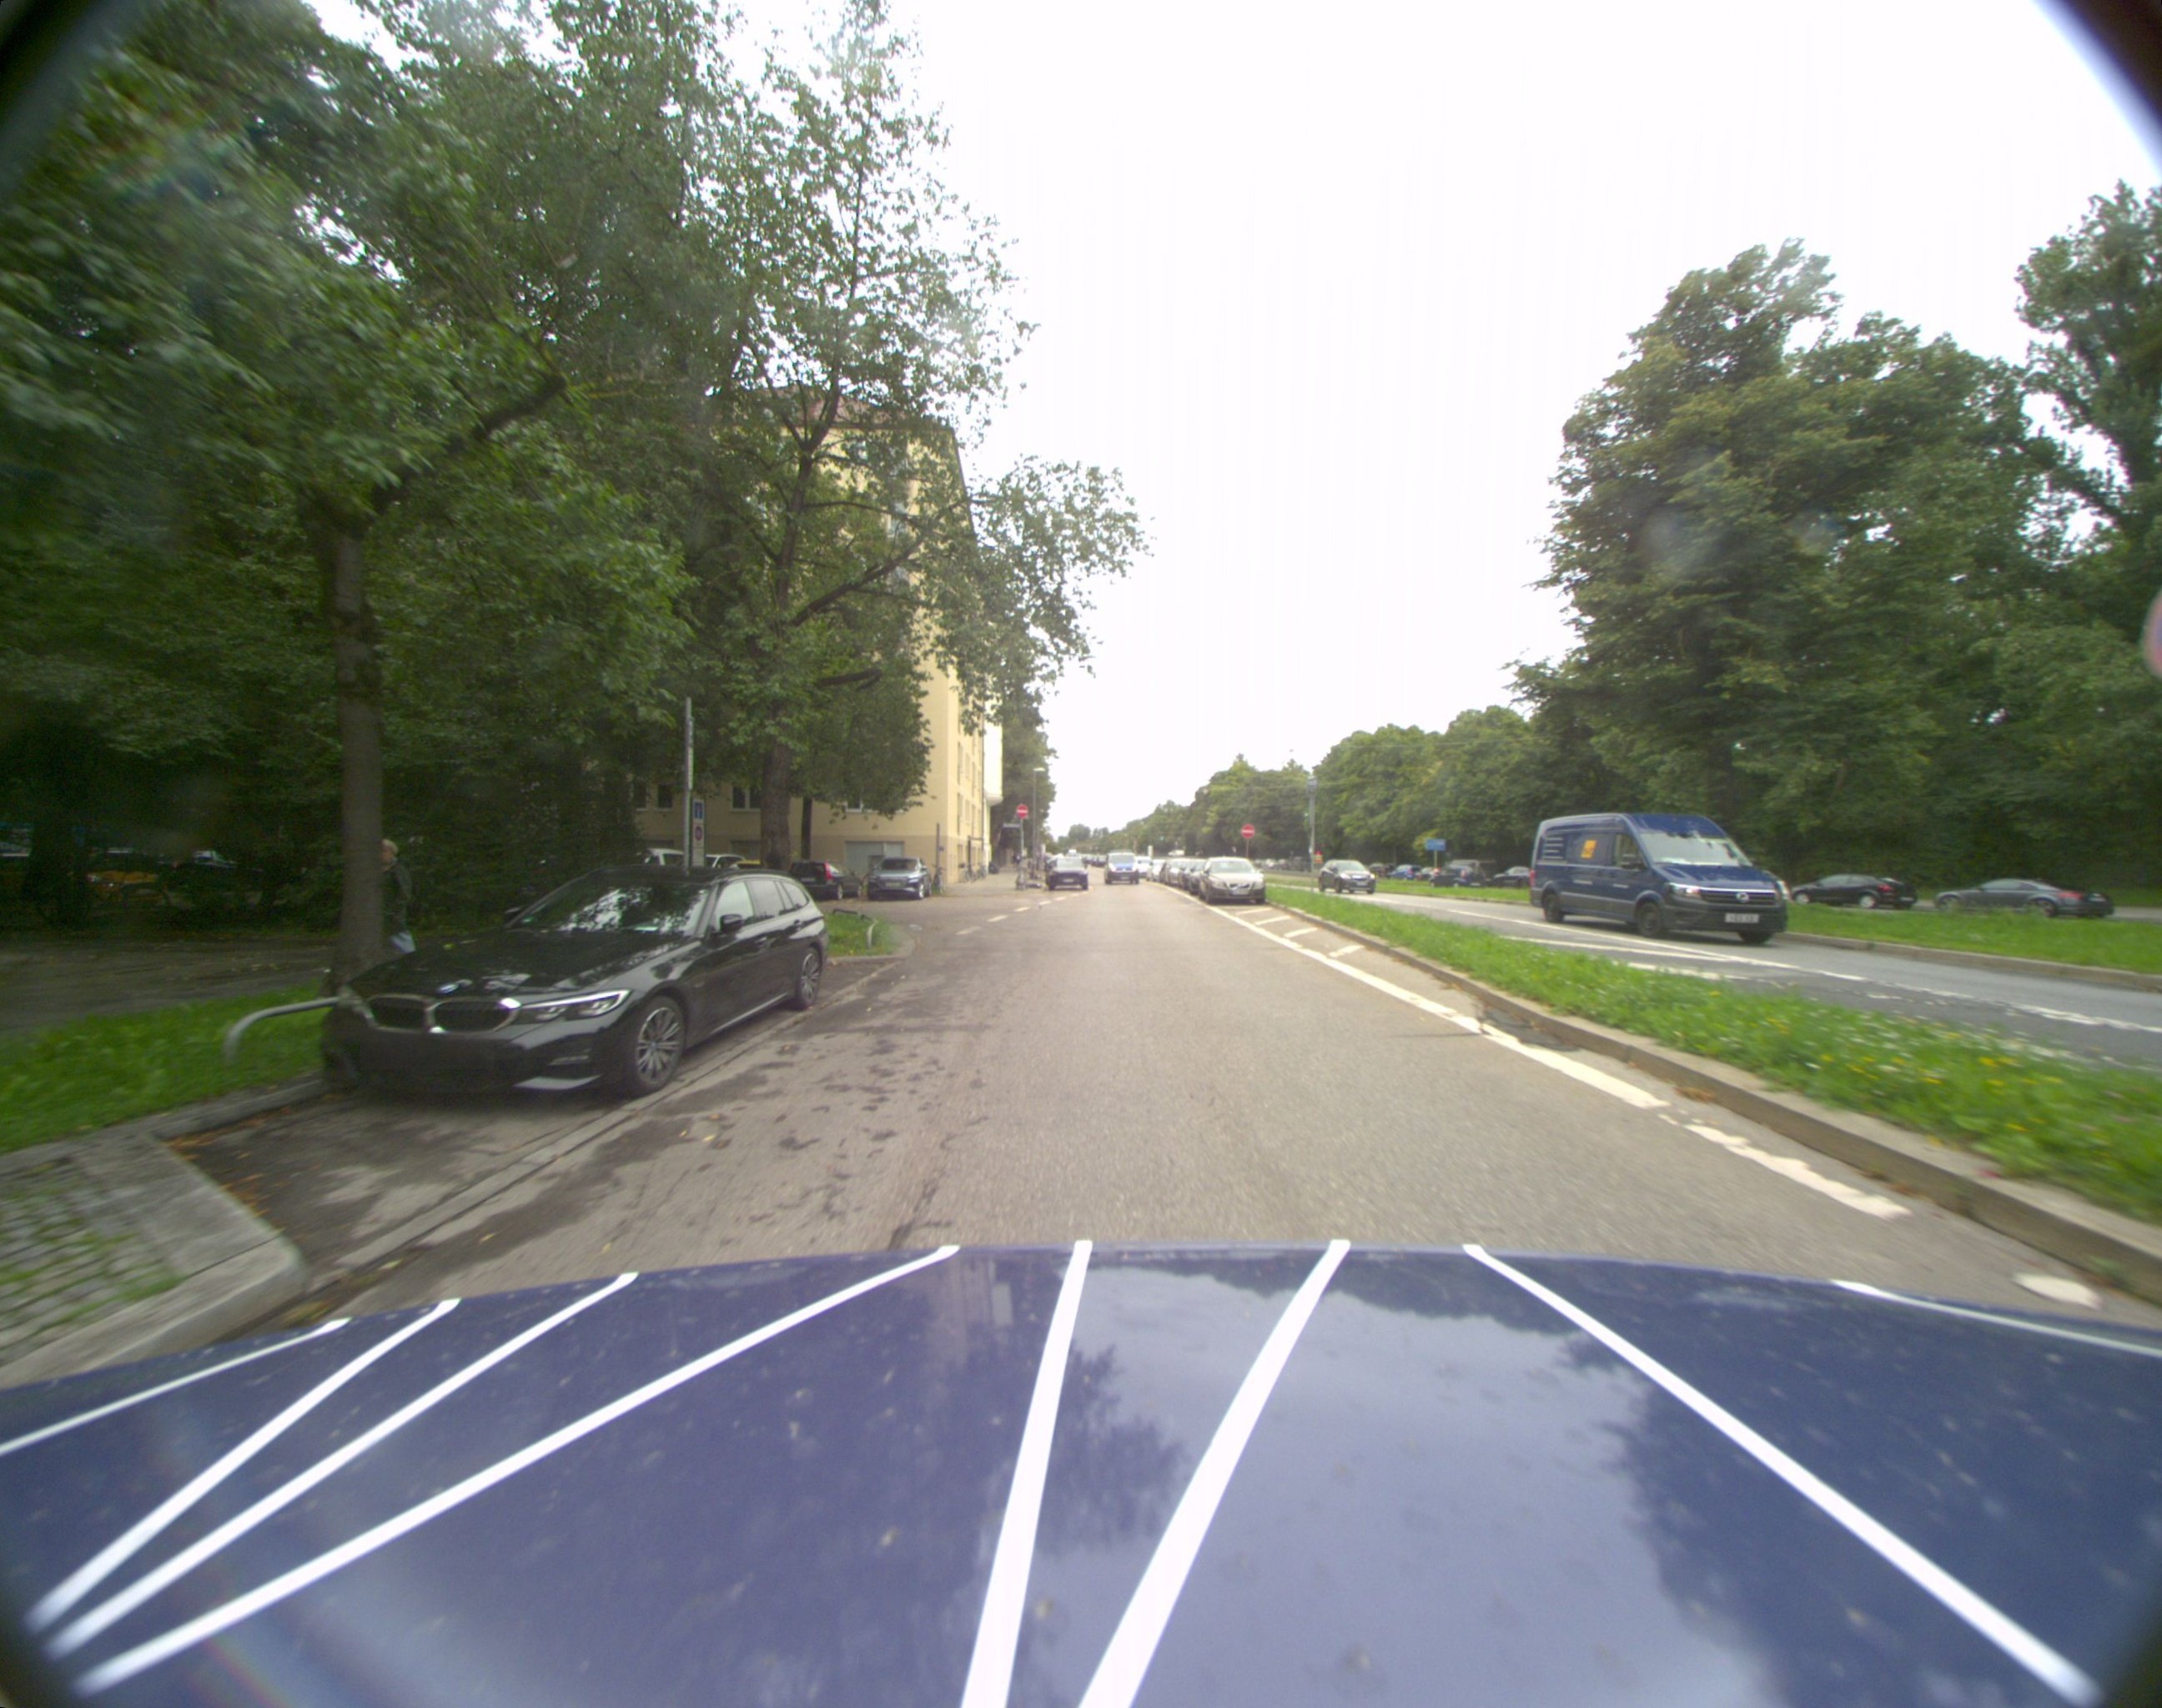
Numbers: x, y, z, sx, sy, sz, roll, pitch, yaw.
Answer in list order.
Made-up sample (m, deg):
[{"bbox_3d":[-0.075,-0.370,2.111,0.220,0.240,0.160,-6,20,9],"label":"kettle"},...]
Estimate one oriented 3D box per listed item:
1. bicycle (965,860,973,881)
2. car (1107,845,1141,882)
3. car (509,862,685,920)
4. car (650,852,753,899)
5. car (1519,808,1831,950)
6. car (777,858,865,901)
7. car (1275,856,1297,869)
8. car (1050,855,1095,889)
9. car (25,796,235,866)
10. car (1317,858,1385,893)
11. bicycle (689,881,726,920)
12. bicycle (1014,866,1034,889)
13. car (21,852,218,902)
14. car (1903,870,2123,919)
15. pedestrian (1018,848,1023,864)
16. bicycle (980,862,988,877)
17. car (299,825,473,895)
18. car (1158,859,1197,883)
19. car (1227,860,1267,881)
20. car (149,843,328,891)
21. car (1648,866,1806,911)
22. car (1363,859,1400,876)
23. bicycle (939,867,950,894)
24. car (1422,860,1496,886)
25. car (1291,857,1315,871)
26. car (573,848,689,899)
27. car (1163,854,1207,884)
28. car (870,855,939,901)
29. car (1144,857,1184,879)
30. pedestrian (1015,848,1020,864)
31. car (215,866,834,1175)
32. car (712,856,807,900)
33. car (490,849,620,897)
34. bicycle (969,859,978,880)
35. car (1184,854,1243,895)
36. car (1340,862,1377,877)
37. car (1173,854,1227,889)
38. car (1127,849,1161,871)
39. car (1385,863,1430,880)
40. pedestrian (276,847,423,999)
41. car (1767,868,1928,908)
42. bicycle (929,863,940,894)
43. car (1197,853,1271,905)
[{"bbox_3d":[-6.151,0.892,41.733,0.364,1.164,1.318,0,0,-12],"label":"bicycle"},{"bbox_3d":[2.709,0.523,46.723,1.855,2.198,4.555,0,1,6],"label":"car"},{"bbox_3d":[-13.154,0.989,20.799,3.706,1.488,1.733,0,0,1],"label":"car"},{"bbox_3d":[-13.906,0.742,28.132,1.917,1.610,4.243,0,0,-4],"label":"car"},{"bbox_3d":[11.930,0.380,16.048,2.189,2.450,5.852,0,1,3],"label":"car"},{"bbox_3d":[-9.485,0.889,28.129,2.054,1.458,4.243,0,0,-4],"label":"car"},{"bbox_3d":[28.236,1.188,104.784,1.866,1.736,3.999,0,0,-1],"label":"car"},{"bbox_3d":[-0.413,0.867,38.243,2.129,1.556,4.507,-1,0,0],"label":"car"},{"bbox_3d":[-35.388,-0.774,28.438,1.973,2.397,4.700,1,0,32],"label":"car"},{"bbox_3d":[13.369,1.016,37.886,1.992,1.618,4.273,0,0,2],"label":"car"},{"bbox_3d":[-9.179,1.130,18.695,0.249,0.875,1.080,0,0,7],"label":"bicycle"},{"bbox_3d":[-2.696,1.120,35.977,0.632,1.031,1.736,1,0,5],"label":"bicycle"},{"bbox_3d":[-33.595,0.731,26.663,1.898,1.594,4.118,0,0,33],"label":"car"},{"bbox_3d":[32.363,1.358,26.640,1.999,1.438,4.523,1,0,-5],"label":"car"},{"bbox_3d":[-7.627,0.238,95.392,0.458,2.002,0.617,0,0,-19],"label":"pedestrian"},{"bbox_3d":[-6.471,1.011,50.655,0.463,0.998,1.318,0,0,-6],"label":"bicycle"},{"bbox_3d":[-24.697,0.203,27.208,1.899,2.300,4.187,0,0,22],"label":"car"},{"bbox_3d":[5.938,1.013,47.086,1.767,1.362,4.282,0,0,-1],"label":"car"},{"bbox_3d":[12.991,1.255,59.775,1.992,1.556,4.653,0,0,-2],"label":"car"},{"bbox_3d":[-30.281,0.441,27.425,1.898,1.594,4.118,0,0,35],"label":"car"},{"bbox_3d":[23.439,1.199,27.809,1.833,1.438,4.233,1,0,-8],"label":"car"},{"bbox_3d":[29.660,1.331,75.170,1.912,1.549,3.998,0,1,-2],"label":"car"},{"bbox_3d":[-5.677,1.092,31.530,0.282,1.055,1.238,0,0,-3],"label":"bicycle"},{"bbox_3d":[21.805,1.078,44.044,1.897,1.438,4.030,0,0,-8],"label":"car"},{"bbox_3d":[28.557,1.294,97.887,1.885,1.736,3.999,0,0,-1],"label":"car"},{"bbox_3d":[-16.485,0.669,28.127,1.917,1.741,4.244,0,0,-3],"label":"car"},{"bbox_3d":[5.618,0.781,41.454,1.992,1.556,4.283,0,0,3],"label":"car"},{"bbox_3d":[-6.467,0.837,28.228,1.825,1.556,4.243,0,0,-4],"label":"car"},{"bbox_3d":[5.658,0.942,52.293,1.993,1.447,4.281,0,0,-4],"label":"car"},{"bbox_3d":[-7.879,0.208,94.678,0.458,2.002,0.617,0,0,-19],"label":"pedestrian"},{"bbox_3d":[-3.662,0.919,6.218,1.796,1.488,4.376,3,0,0],"label":"car"},{"bbox_3d":[-11.680,0.817,27.937,1.917,1.458,4.243,0,0,-4],"label":"car"},{"bbox_3d":[-18.910,0.639,27.584,1.917,1.590,4.244,0,0,-3],"label":"car"},{"bbox_3d":[-6.183,0.885,43.676,0.401,1.164,1.318,0,0,-12],"label":"bicycle"},{"bbox_3d":[5.387,0.789,31.404,1.991,1.556,4.284,0,0,5],"label":"car"},{"bbox_3d":[29.420,1.616,80.724,1.999,1.438,4.316,1,0,-5],"label":"car"},{"bbox_3d":[5.641,0.774,36.436,1.992,1.556,4.283,0,0,1],"label":"car"},{"bbox_3d":[5.134,0.461,62.742,2.075,1.692,5.088,0,0,-4],"label":"car"},{"bbox_3d":[30.015,1.576,69.915,1.999,1.438,4.316,1,0,-5],"label":"car"},{"bbox_3d":[-8.212,0.729,8.578,0.672,1.614,0.980,0,1,1],"label":"pedestrian"},{"bbox_3d":[31.937,1.372,31.885,1.999,1.438,4.523,1,0,-5],"label":"car"},{"bbox_3d":[-6.081,1.007,31.535,0.282,1.224,1.238,0,0,-3],"label":"bicycle"},{"bbox_3d":[5.060,0.765,25.708,1.903,1.556,4.772,0,0,5],"label":"car"}]
